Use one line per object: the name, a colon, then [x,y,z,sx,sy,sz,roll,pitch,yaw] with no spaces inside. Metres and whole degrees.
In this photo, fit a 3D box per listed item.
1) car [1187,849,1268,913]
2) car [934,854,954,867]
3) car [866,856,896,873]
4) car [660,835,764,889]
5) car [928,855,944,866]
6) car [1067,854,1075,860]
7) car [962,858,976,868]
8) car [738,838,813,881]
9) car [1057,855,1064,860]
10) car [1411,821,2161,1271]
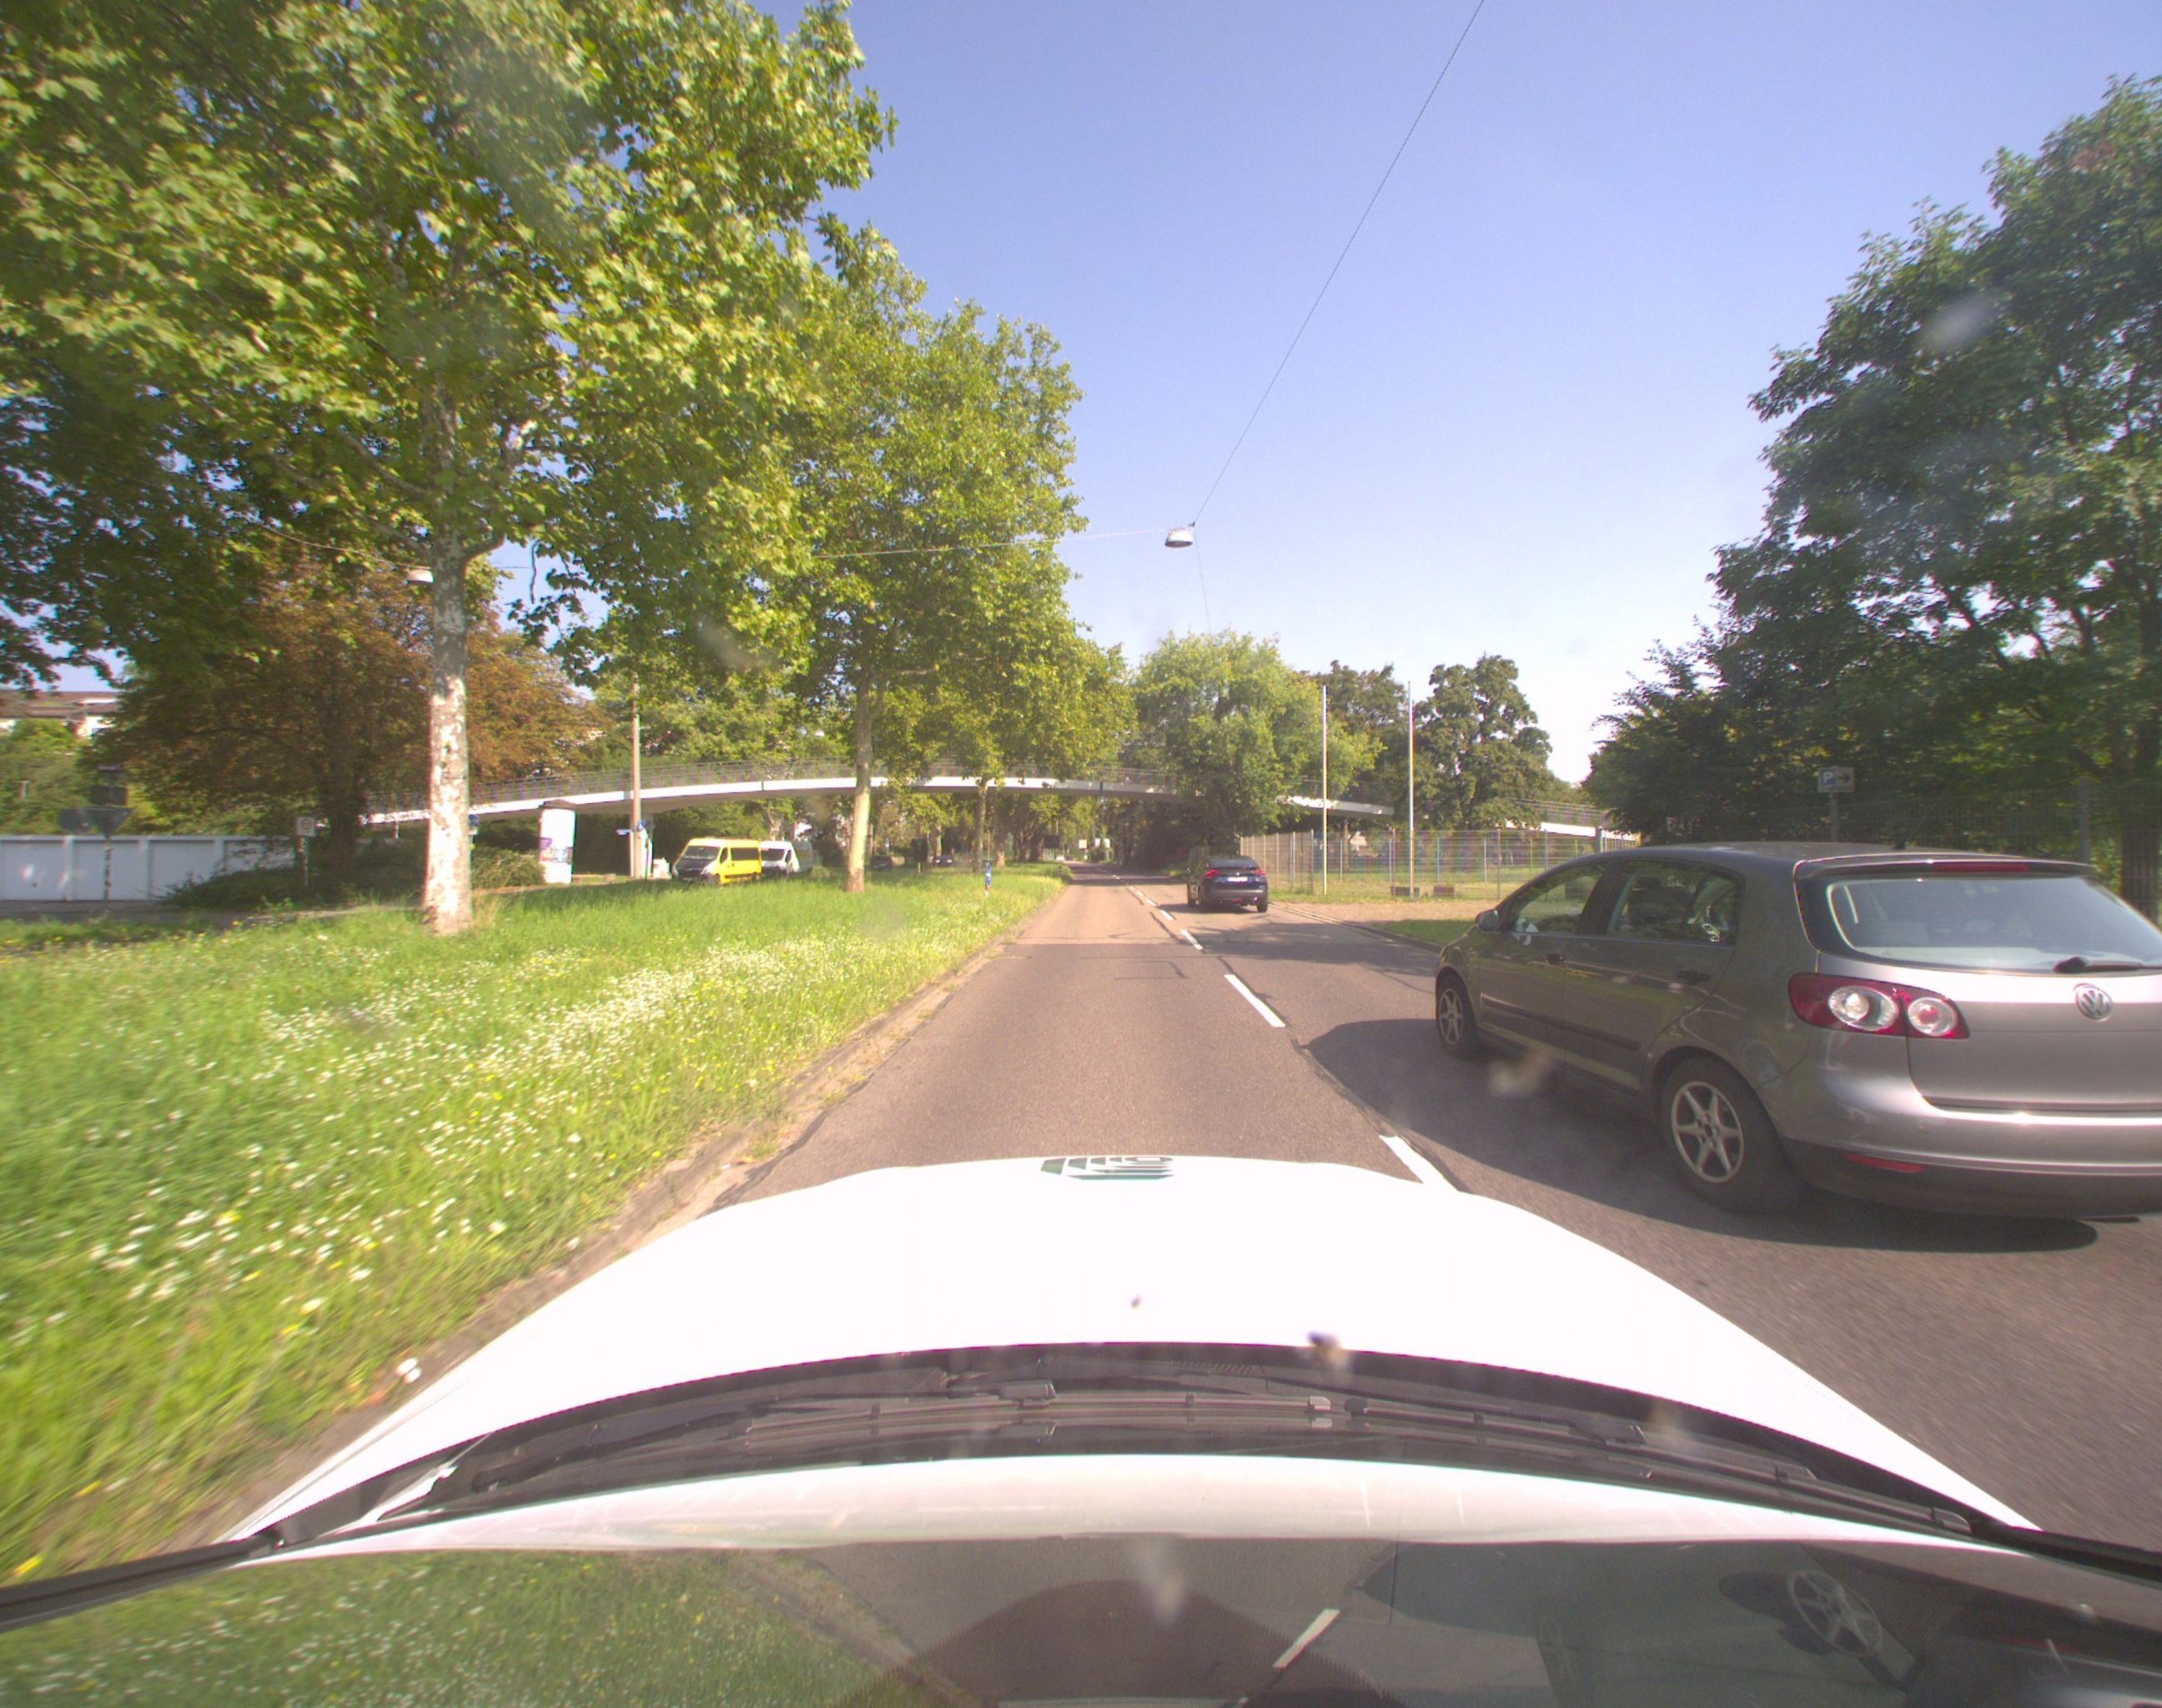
car: [3.961,0.678,22.651,1.639,1.588,4.257,1,0,2]
car: [-16.566,0.737,98.573,1.783,1.533,4.452,1,0,-2]
car: [-18.471,0.961,75.397,1.516,1.533,3.867,-1,0,4]
car: [-18.352,0.390,40.940,2.199,2.479,6.064,1,0,2]
car: [-19.836,0.859,111.370,1.534,1.451,4.062,1,0,-1]
car: [-2.647,0.832,218.572,1.794,1.401,3.995,1,0,-4]
car: [-16.952,1.343,122.922,1.687,1.533,4.066,0,0,-3]
car: [-18.223,0.316,48.945,2.201,2.430,6.262,1,0,-1]
car: [-5.094,0.874,206.090,1.683,1.462,3.997,1,0,-2]
car: [3.525,0.674,4.791,1.639,1.556,3.899,1,0,1]
